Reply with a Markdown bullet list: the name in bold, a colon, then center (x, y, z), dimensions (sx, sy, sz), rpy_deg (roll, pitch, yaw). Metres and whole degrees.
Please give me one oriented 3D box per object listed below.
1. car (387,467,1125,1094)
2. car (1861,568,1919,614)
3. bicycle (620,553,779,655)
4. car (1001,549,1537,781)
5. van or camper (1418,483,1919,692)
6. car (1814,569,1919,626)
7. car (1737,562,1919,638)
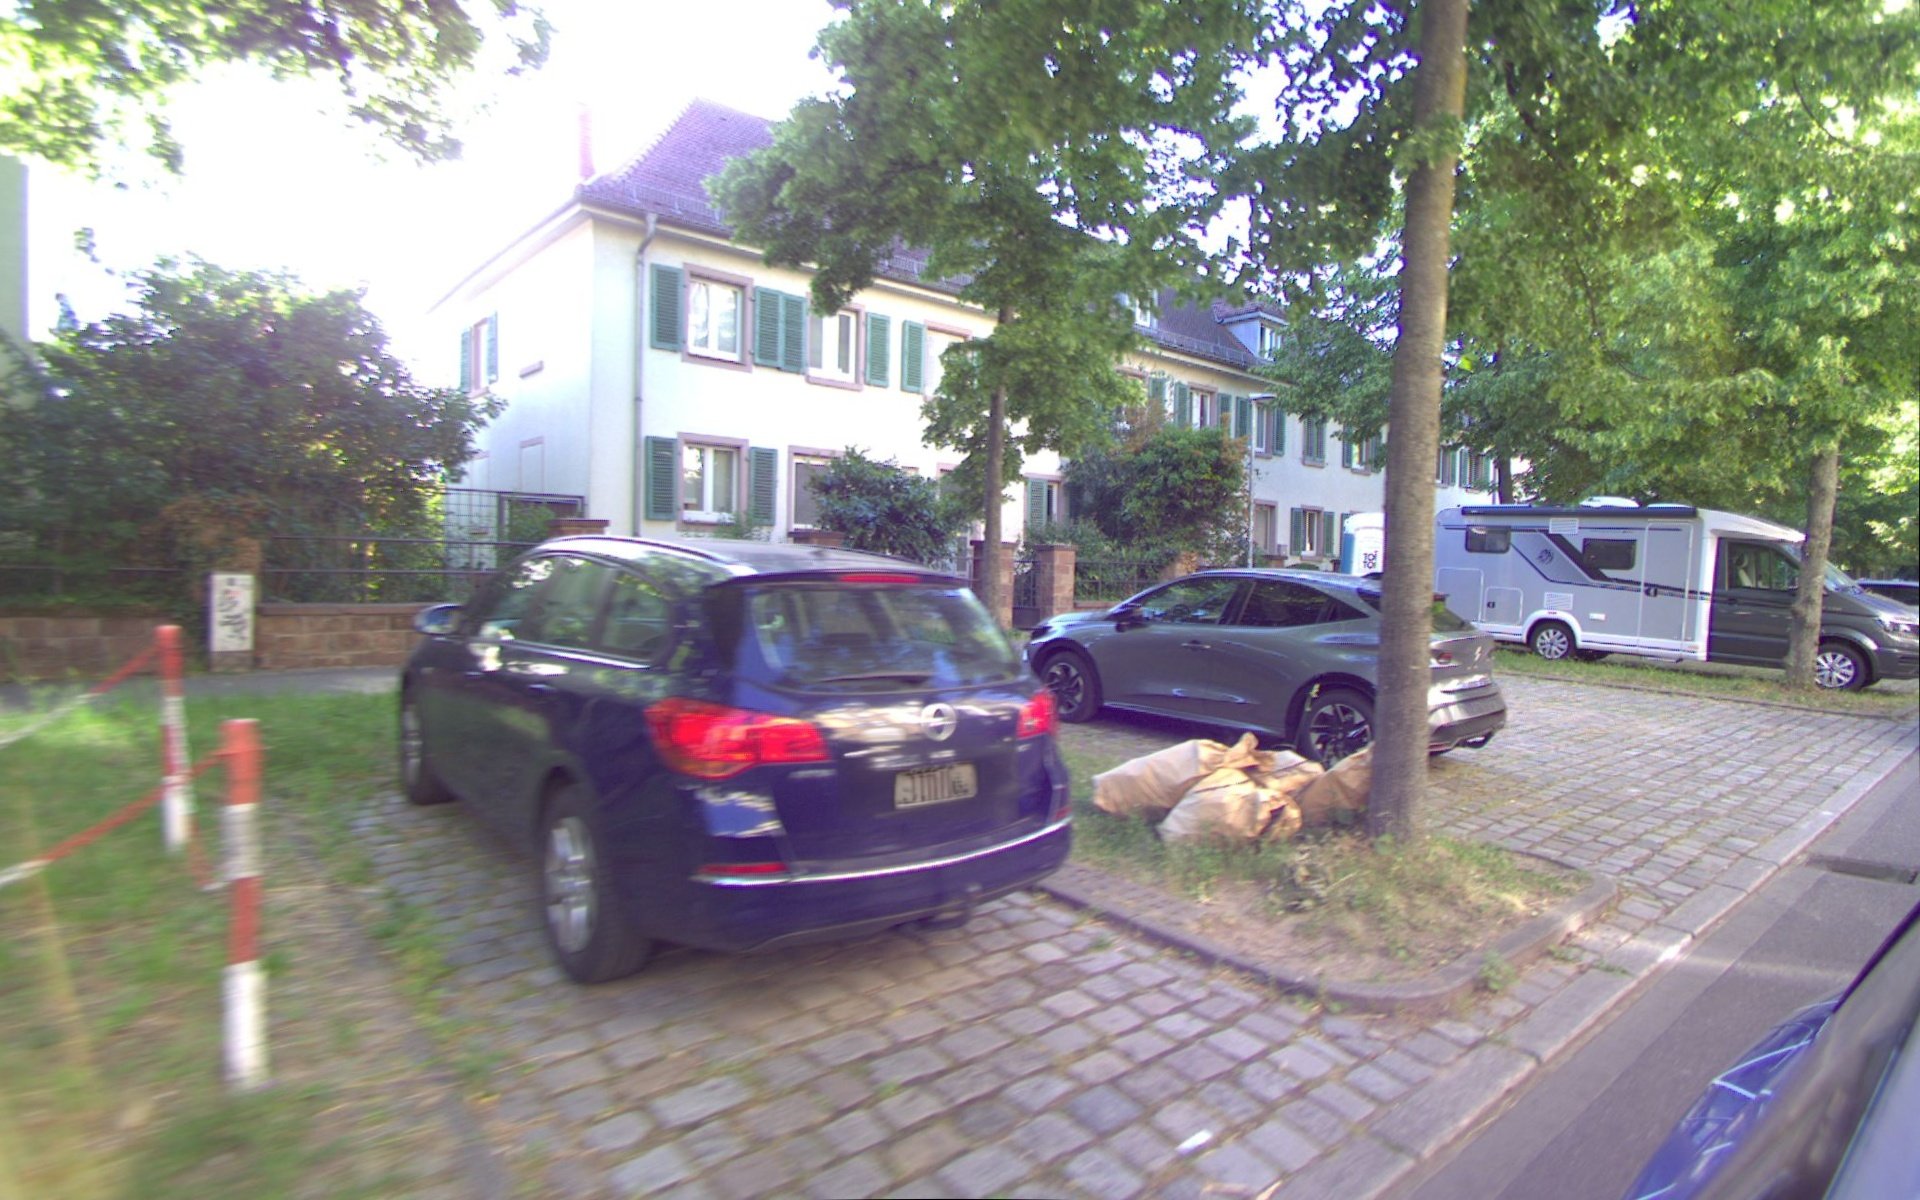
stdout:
- **car**: center (-1.370, 0.333, 4.771), dimensions (1.661, 1.618, 4.235), rpy_deg (-2, 4, -38)
- **car**: center (39.378, -0.229, 40.520), dimensions (1.872, 1.697, 4.597), rpy_deg (0, 5, -38)
- **bicycle**: center (-3.117, 0.021, 12.211), dimensions (1.788, 1.142, 0.565), rpy_deg (-1, 4, -41)
- **car**: center (2.379, 0.339, 8.568), dimensions (1.663, 1.472, 4.037), rpy_deg (-1, 3, -44)
- **van or camper**: center (11.617, -0.445, 16.413), dimensions (2.419, 2.678, 7.171), rpy_deg (0, 5, -38)
- **car**: center (31.601, -0.026, 33.762), dimensions (4.543, 1.652, 1.784), rpy_deg (8, 6, 44)
- **car**: center (23.807, -0.024, 26.917), dimensions (1.800, 1.730, 4.633), rpy_deg (0, 4, -39)
